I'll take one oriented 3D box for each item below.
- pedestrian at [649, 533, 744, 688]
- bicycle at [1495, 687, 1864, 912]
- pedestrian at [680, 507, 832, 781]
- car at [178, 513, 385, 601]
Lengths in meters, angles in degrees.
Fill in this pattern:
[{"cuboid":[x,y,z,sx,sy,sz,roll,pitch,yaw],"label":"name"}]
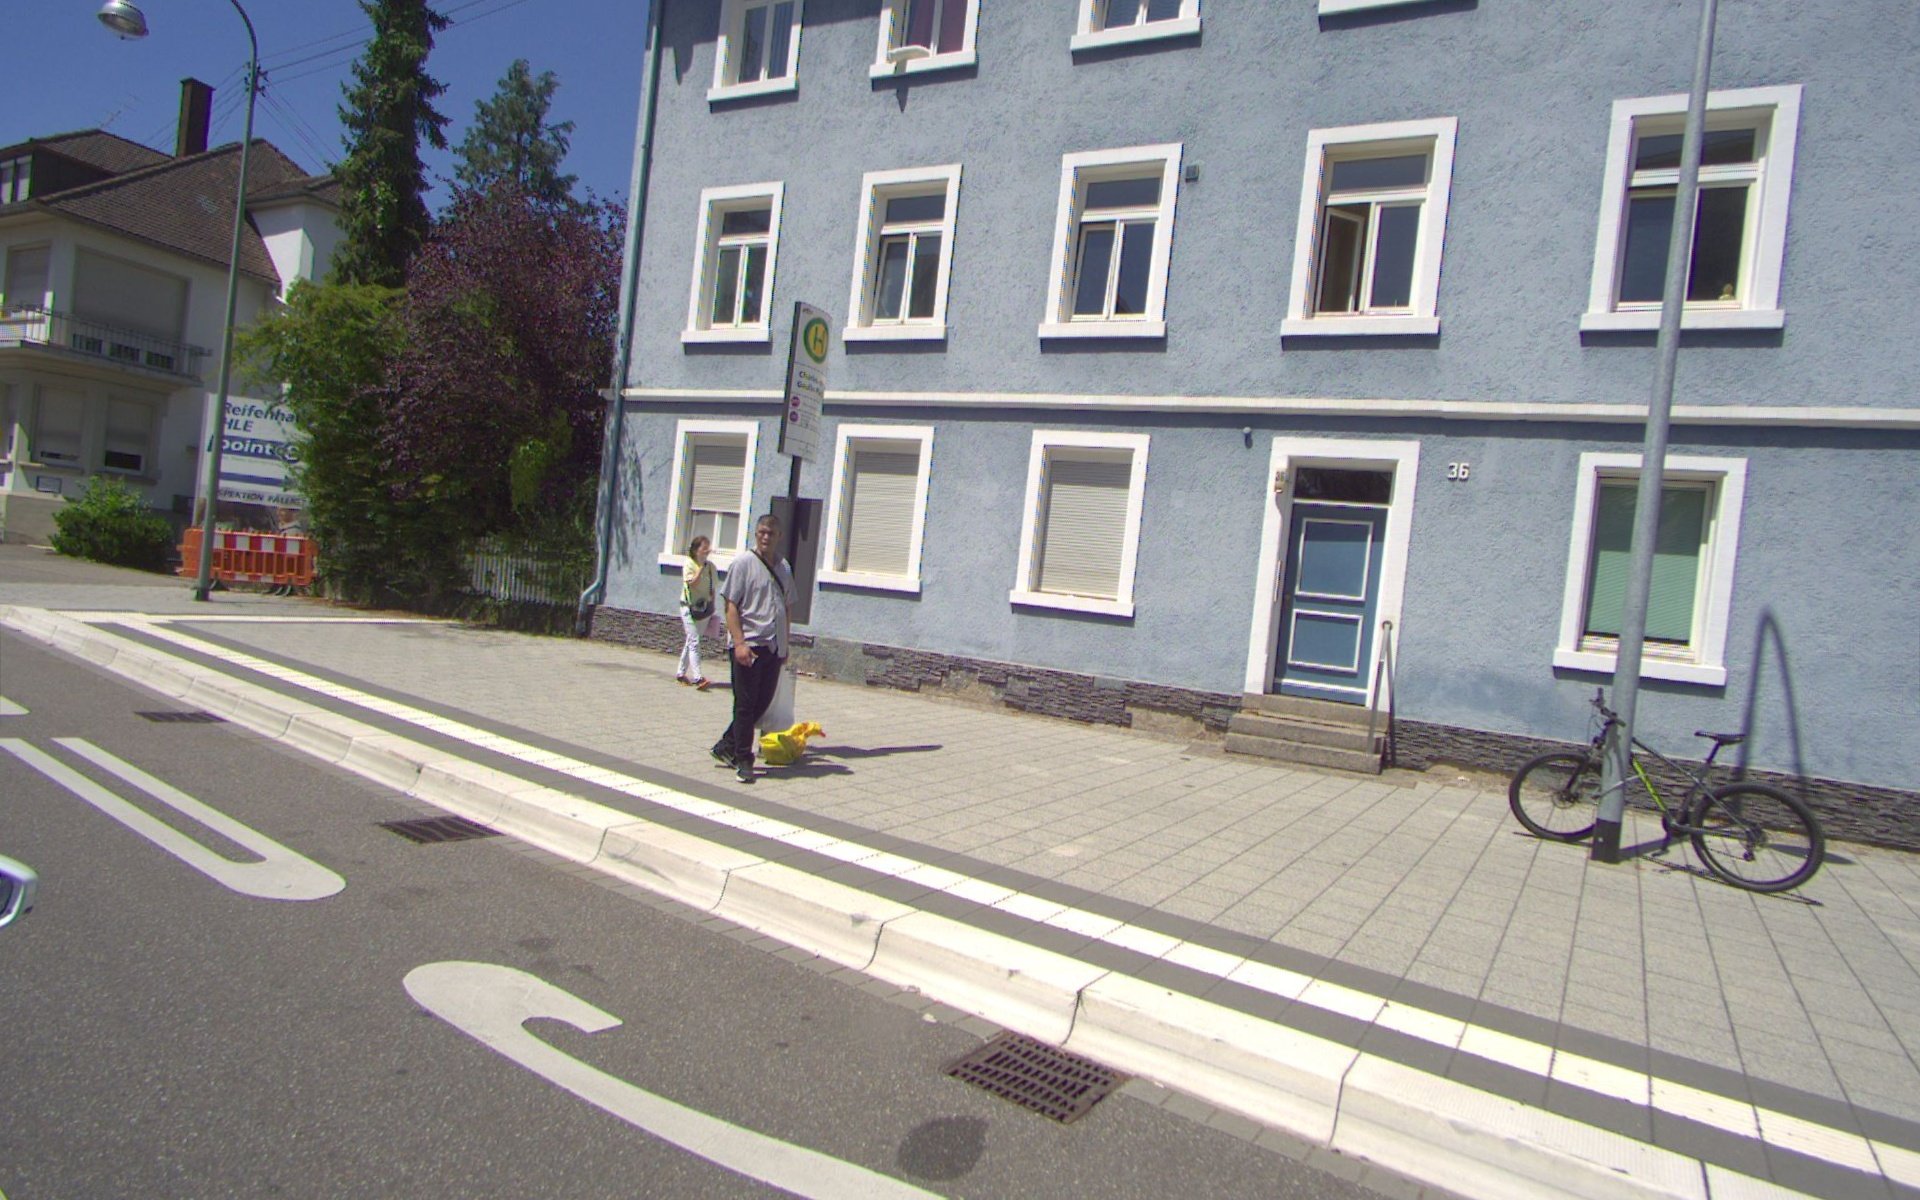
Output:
[{"cuboid":[-2.934,0.112,11.196,0.740,1.637,0.612,8,3,44],"label":"pedestrian"},{"cuboid":[4.790,1.256,6.823,0.629,1.053,1.860,3,3,-43],"label":"bicycle"},{"cuboid":[-1.464,0.293,7.248,0.737,1.830,0.614,6,4,23],"label":"pedestrian"},{"cuboid":[-17.623,-1.077,26.342,1.767,1.610,3.998,7,-3,29],"label":"car"}]
